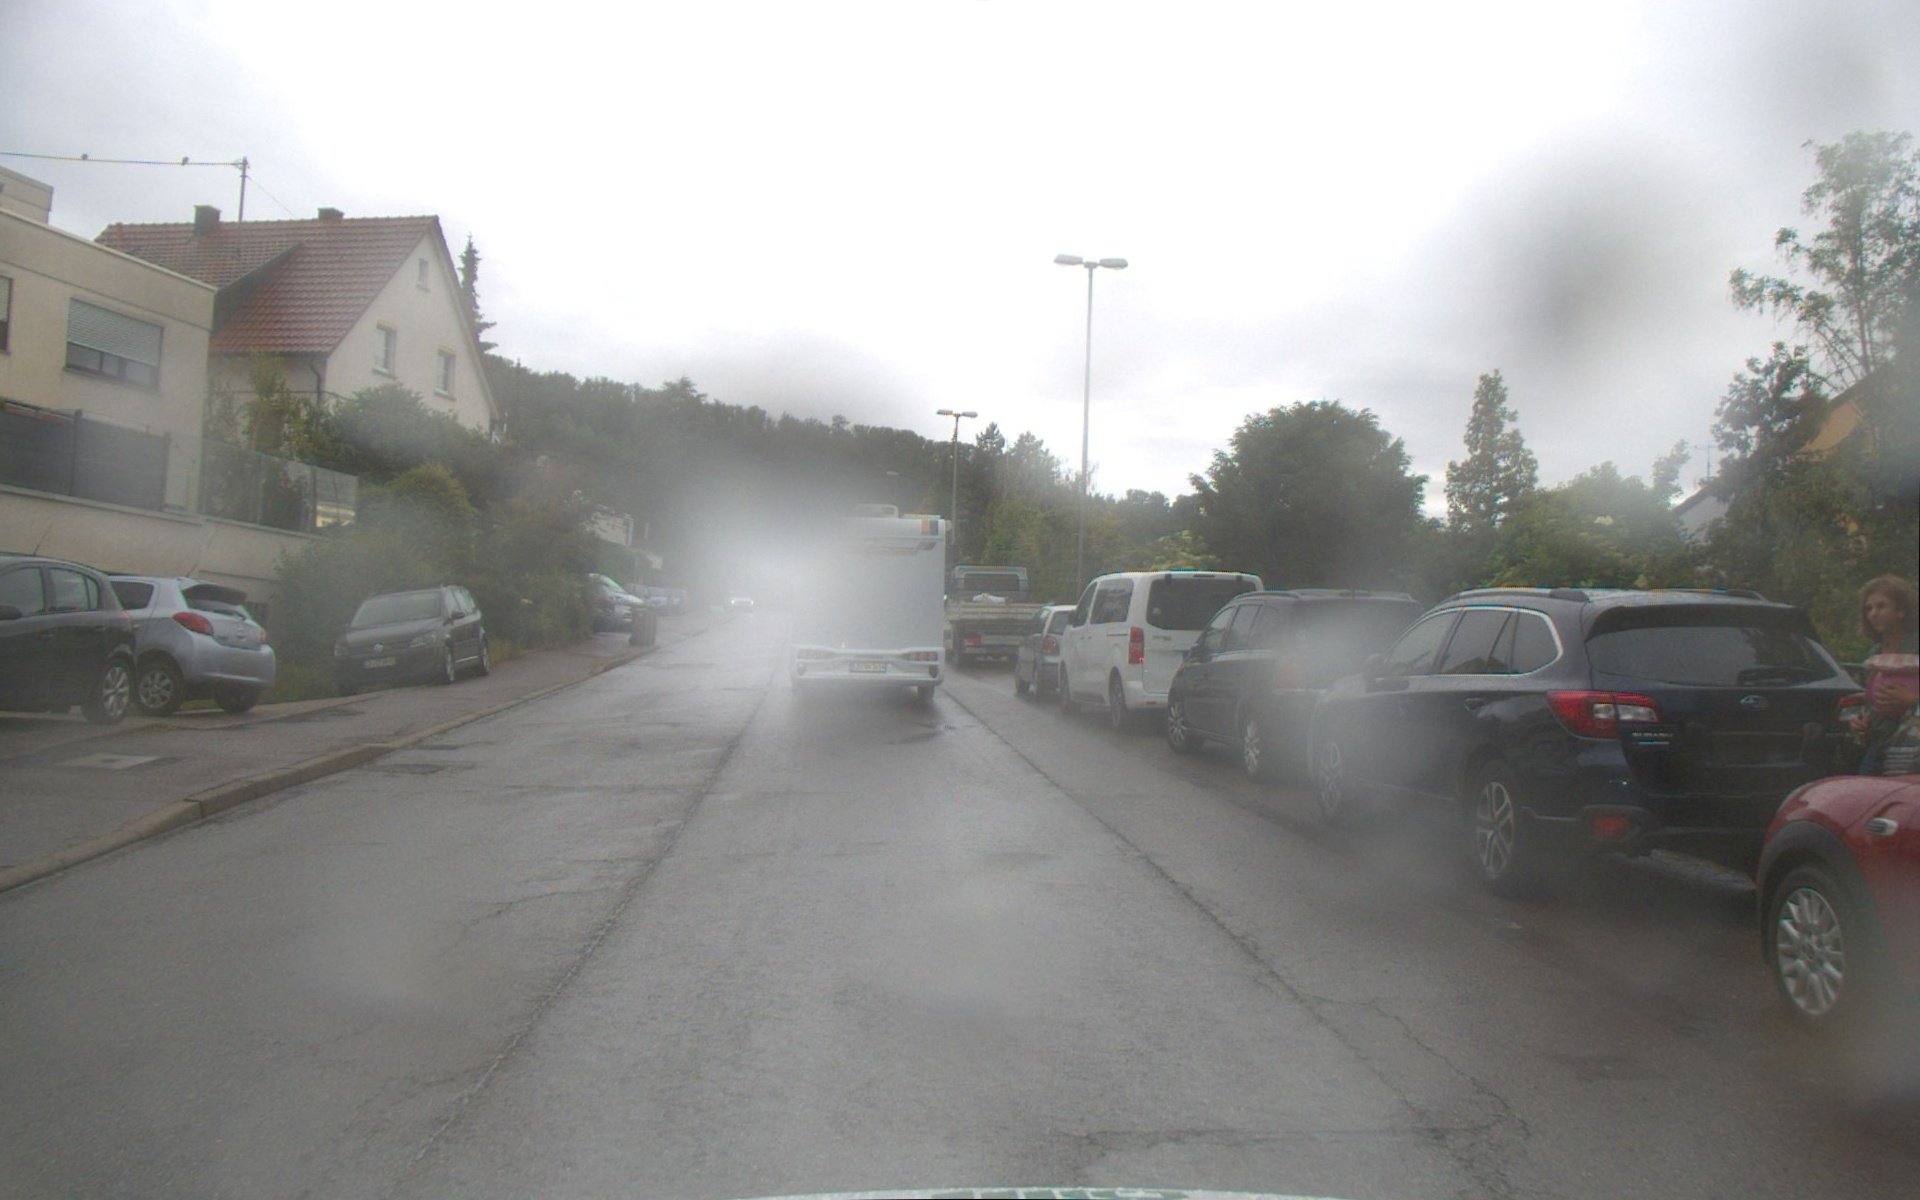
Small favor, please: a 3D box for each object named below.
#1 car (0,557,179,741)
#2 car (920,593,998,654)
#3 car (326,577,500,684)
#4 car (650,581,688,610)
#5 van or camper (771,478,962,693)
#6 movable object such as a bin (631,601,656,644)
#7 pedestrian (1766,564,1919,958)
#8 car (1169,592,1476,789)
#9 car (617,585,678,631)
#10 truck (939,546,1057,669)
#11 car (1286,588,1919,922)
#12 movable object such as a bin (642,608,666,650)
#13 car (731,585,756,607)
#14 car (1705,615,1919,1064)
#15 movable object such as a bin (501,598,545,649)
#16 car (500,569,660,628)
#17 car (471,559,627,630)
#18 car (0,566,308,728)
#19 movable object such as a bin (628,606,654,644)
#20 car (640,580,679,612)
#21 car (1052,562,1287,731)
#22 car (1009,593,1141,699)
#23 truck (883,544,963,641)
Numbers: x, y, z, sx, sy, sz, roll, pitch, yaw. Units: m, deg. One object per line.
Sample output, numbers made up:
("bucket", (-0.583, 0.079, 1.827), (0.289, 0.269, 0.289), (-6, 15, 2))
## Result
("car", (-8.319, 0.341, 13.446), (1.730, 1.400, 4.248), (4, -1, 2))
("car", (-0.070, 0.647, 46.774), (1.725, 1.632, 4.660), (1, 0, -6))
("car", (-8.946, 0.480, 27.393), (1.768, 1.625, 4.412), (1, -1, -5))
("car", (-16.185, -0.231, 92.046), (1.602, 1.420, 4.234), (5, 0, -5))
("van or camper", (-1.563, -0.111, 26.272), (2.565, 2.903, 6.024), (3, -2, -5))
("movable object such as a bin", (-8.373, 0.592, 43.821), (0.591, 1.082, 0.637), (3, 0, -10))
("pedestrian", (4.133, 0.684, 7.368), (0.702, 1.664, 0.706), (1, 0, -4))
("car", (3.187, 0.742, 15.415), (1.612, 1.568, 4.349), (1, 0, -4))
("car", (-12.785, 0.321, 67.820), (1.656, 1.615, 4.195), (8, 0, -2))
("truck", (0.791, 0.193, 39.624), (2.195, 2.678, 6.532), (1, -1, -4))
("car", (3.497, 0.738, 10.030), (1.780, 1.533, 4.719), (1, 0, -4))
("movable object such as a bin", (-8.220, 0.780, 44.422), (0.591, 1.082, 0.697), (3, 0, -10))
("car", (-17.181, -0.347, 131.275), (1.870, 1.636, 4.421), (2, 0, -7))
("car", (3.961, 0.772, 4.805), (1.701, 1.439, 3.849), (1, -1, -3))
("movable object such as a bin", (-9.718, 0.522, 36.811), (0.683, 1.102, 0.710), (1, 0, 14))
("car", (-13.170, -0.047, 57.473), (4.976, 1.978, 2.143), (1, 0, 11))
("car", (-12.243, -0.147, 49.404), (3.970, 1.721, 1.895), (5, -1, 8))
("car", (-9.562, 0.570, 18.479), (3.746, 1.503, 1.805), (-5, -2, 9))
("movable object such as a bin", (-8.291, 0.653, 43.004), (0.591, 0.944, 0.563), (3, 0, -10))
("car", (-15.655, -0.225, 86.238), (1.577, 1.459, 3.954), (5, 0, -6))
("car", (2.542, 0.553, 21.339), (1.814, 1.915, 4.902), (1, -1, -8))
("car", (1.796, 0.707, 26.933), (1.615, 1.591, 3.960), (1, -1, -4))
("truck", (-1.484, -0.221, 62.088), (2.389, 3.394, 7.955), (1, -1, -5))
